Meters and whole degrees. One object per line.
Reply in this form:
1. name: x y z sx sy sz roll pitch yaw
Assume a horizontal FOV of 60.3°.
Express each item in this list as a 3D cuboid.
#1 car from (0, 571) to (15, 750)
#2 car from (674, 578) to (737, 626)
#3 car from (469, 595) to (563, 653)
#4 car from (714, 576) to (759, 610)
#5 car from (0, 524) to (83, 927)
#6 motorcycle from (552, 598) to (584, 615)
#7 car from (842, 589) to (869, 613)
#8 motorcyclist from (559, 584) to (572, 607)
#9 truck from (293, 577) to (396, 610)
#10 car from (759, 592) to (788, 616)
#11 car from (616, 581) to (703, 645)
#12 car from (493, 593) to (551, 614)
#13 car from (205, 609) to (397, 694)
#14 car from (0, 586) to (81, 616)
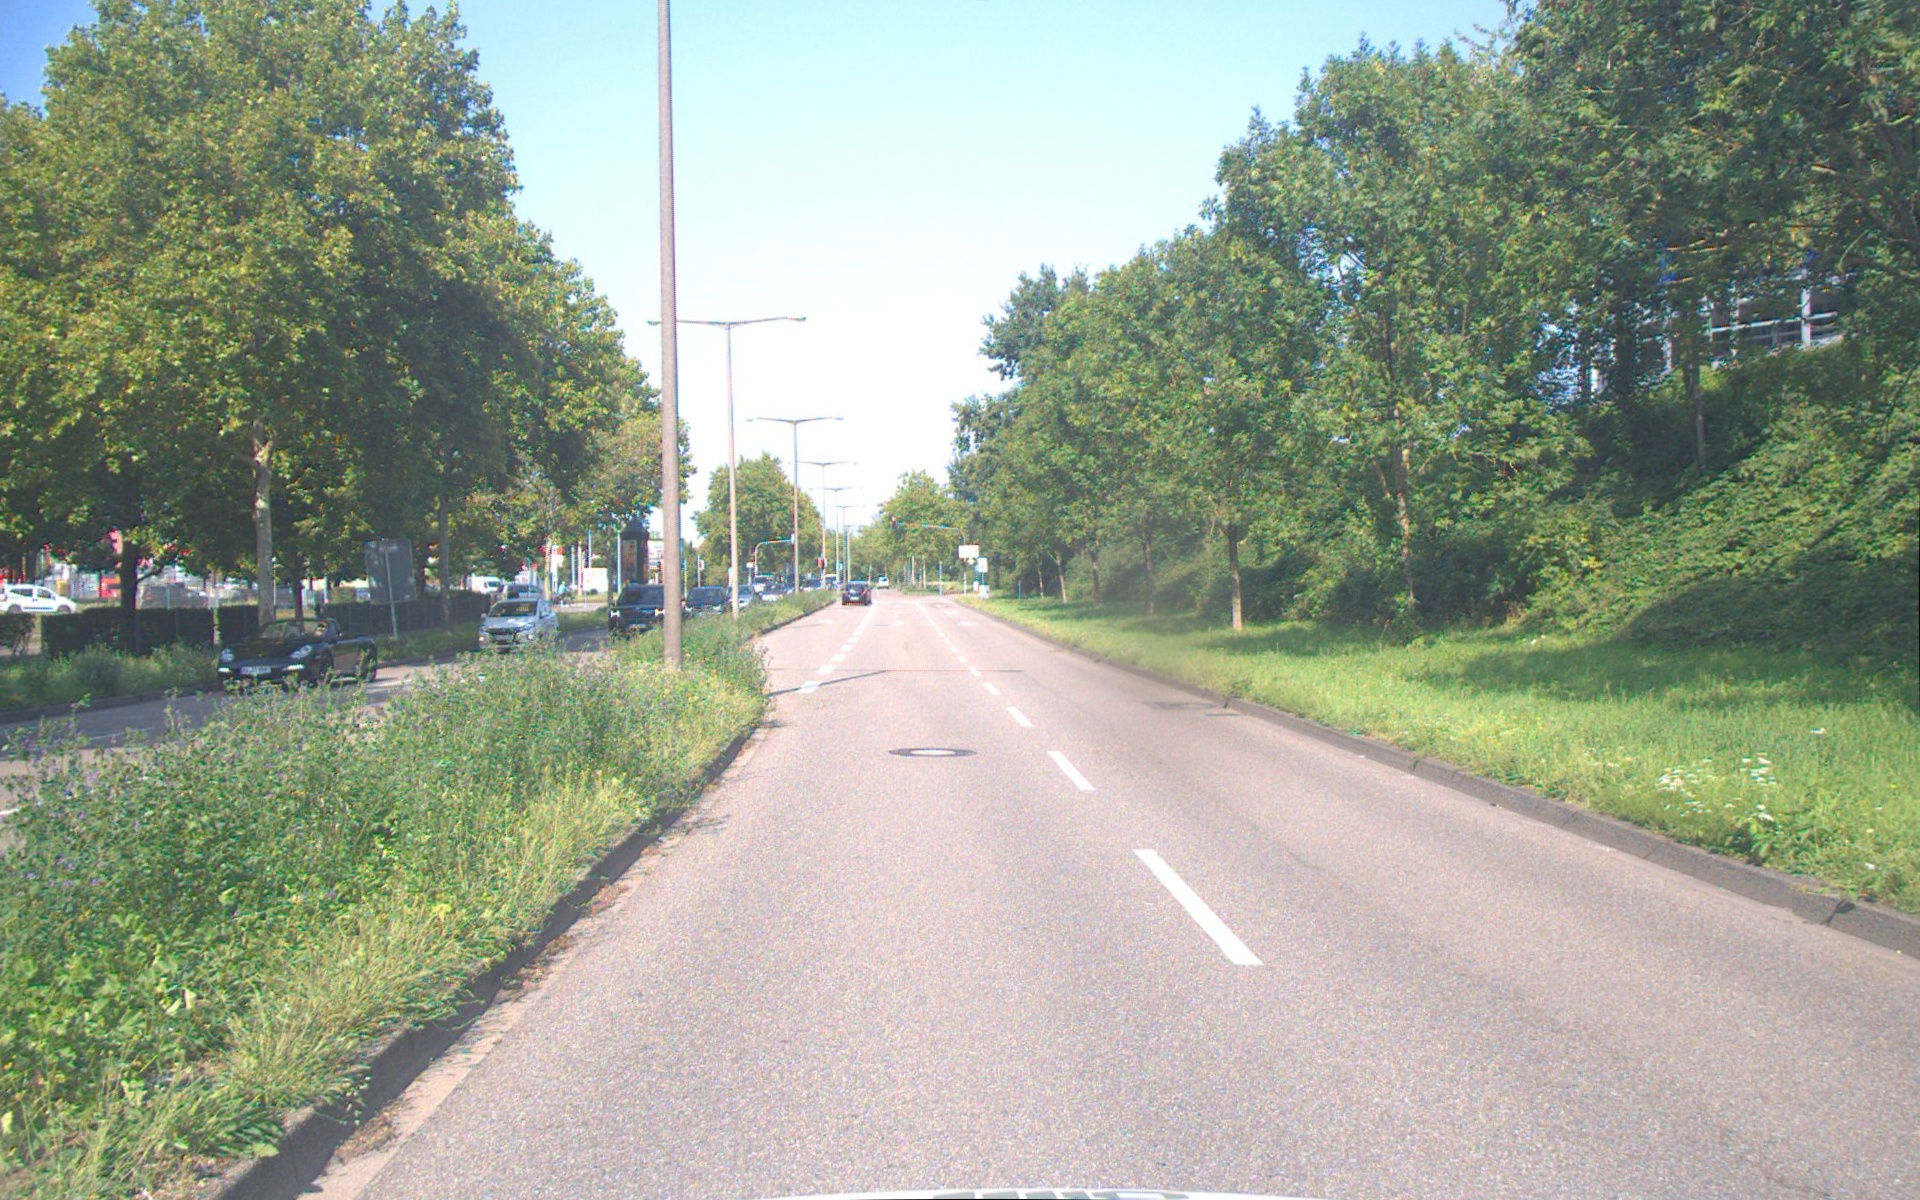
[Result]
1. car: -11.064 0.693 15.228 1.945 1.891 4.967 -3 0 -2
2. car: -10.315 0.079 67.350 1.954 1.790 4.305 -3 0 -2
3. car: -12.477 0.646 46.707 1.755 1.508 3.997 -1 0 -4
4. car: -11.290 -0.347 83.749 1.842 1.621 4.106 -1 0 -3
5. car: -5.082 0.571 5.573 1.915 1.754 4.585 -1 0 -2
6. motorcycle: -27.114 0.457 114.412 2.055 1.156 0.668 -1 0 -38
7. car: -6.905 0.052 109.299 1.658 1.512 3.998 -1 0 -2
8. motorcyclist: -27.255 -0.289 114.301 0.677 1.599 0.674 0 0 -38
9. truck: -60.956 -0.616 163.956 8.925 3.009 3.466 -2 1 -39
10. car: -12.183 0.255 108.177 1.643 1.512 3.490 0 0 -3
11. car: -9.237 0.377 51.152 1.954 1.790 4.475 -3 0 -2
12. car: -30.610 0.238 115.597 3.666 1.468 1.446 0 0 -39
13. car: -11.605 0.859 29.423 1.754 1.285 4.095 -2 0 0
14. car: -53.287 0.035 95.727 3.966 1.709 1.842 0 0 -42
